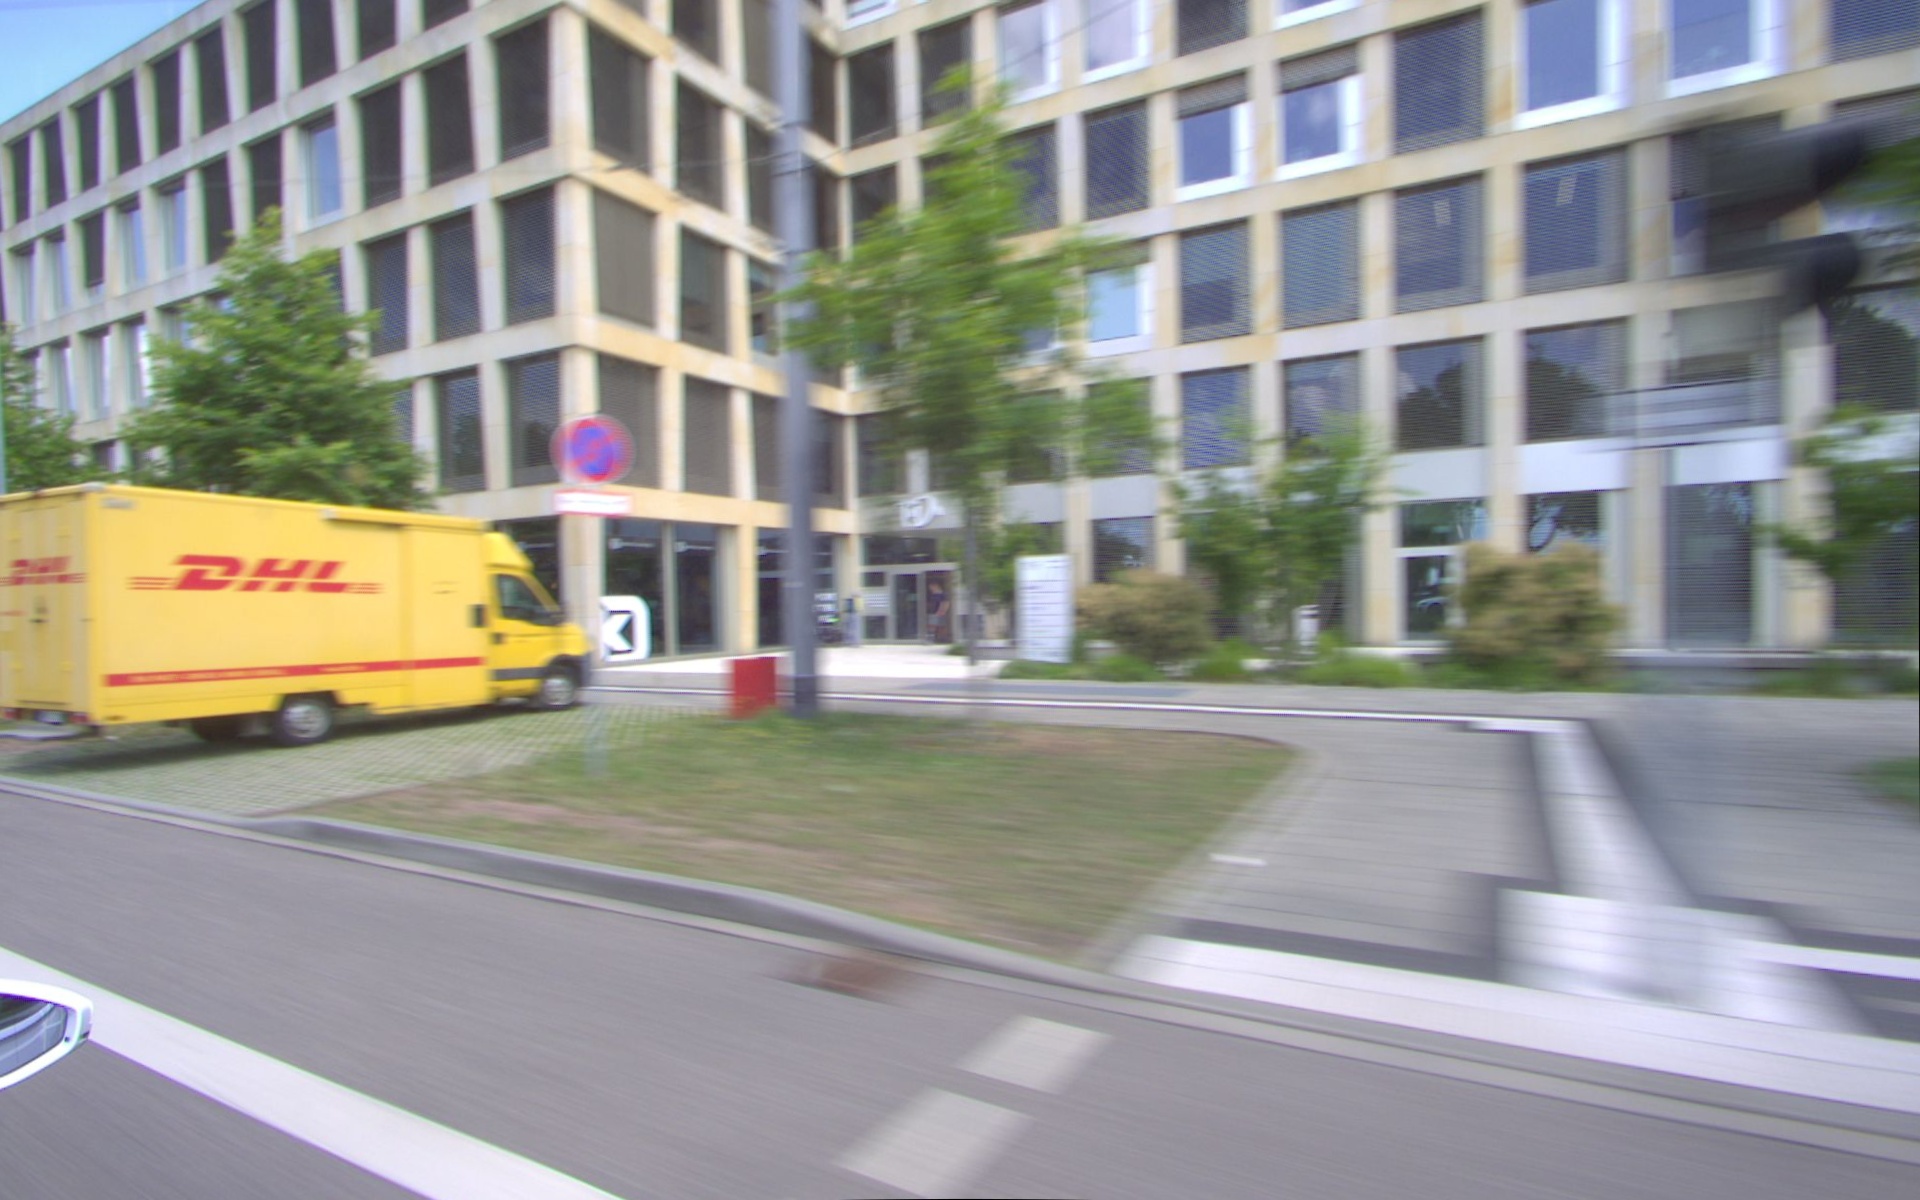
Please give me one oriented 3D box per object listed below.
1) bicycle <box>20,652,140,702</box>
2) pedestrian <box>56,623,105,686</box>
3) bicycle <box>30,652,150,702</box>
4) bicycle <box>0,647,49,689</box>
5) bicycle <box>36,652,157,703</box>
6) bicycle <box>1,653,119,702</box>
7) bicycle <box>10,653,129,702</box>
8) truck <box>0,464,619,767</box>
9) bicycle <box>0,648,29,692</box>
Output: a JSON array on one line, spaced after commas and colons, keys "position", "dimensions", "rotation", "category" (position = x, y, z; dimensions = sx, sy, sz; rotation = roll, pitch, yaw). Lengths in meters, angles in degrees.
[{"position": [-18.556, 1.633, 21.172], "dimensions": [0.432, 1.006, 1.842], "rotation": [-2, -5, 27], "category": "bicycle"}, {"position": [-22.547, 1.397, 25.667], "dimensions": [0.892, 1.572, 0.636], "rotation": [-1, 0, 29], "category": "pedestrian"}, {"position": [-18.153, 1.615, 20.946], "dimensions": [0.432, 1.006, 1.842], "rotation": [-2, -5, 27], "category": "bicycle"}, {"position": [-24.561, 1.746, 25.594], "dimensions": [0.432, 1.069, 1.841], "rotation": [-2, -3, 27], "category": "bicycle"}, {"position": [-17.773, 1.606, 20.660], "dimensions": [0.432, 1.006, 1.842], "rotation": [-2, -5, 27], "category": "bicycle"}, {"position": [-19.379, 1.669, 21.607], "dimensions": [0.432, 1.006, 1.842], "rotation": [-2, -5, 27], "category": "bicycle"}, {"position": [-18.963, 1.651, 21.378], "dimensions": [0.432, 1.006, 1.842], "rotation": [-2, -5, 27], "category": "bicycle"}, {"position": [-7.982, 0.180, 13.193], "dimensions": [2.416, 2.904, 6.802], "rotation": [-2, -1, 26], "category": "truck"}, {"position": [-24.180, 1.731, 24.624], "dimensions": [0.432, 1.069, 1.841], "rotation": [-2, -3, 27], "category": "bicycle"}]
